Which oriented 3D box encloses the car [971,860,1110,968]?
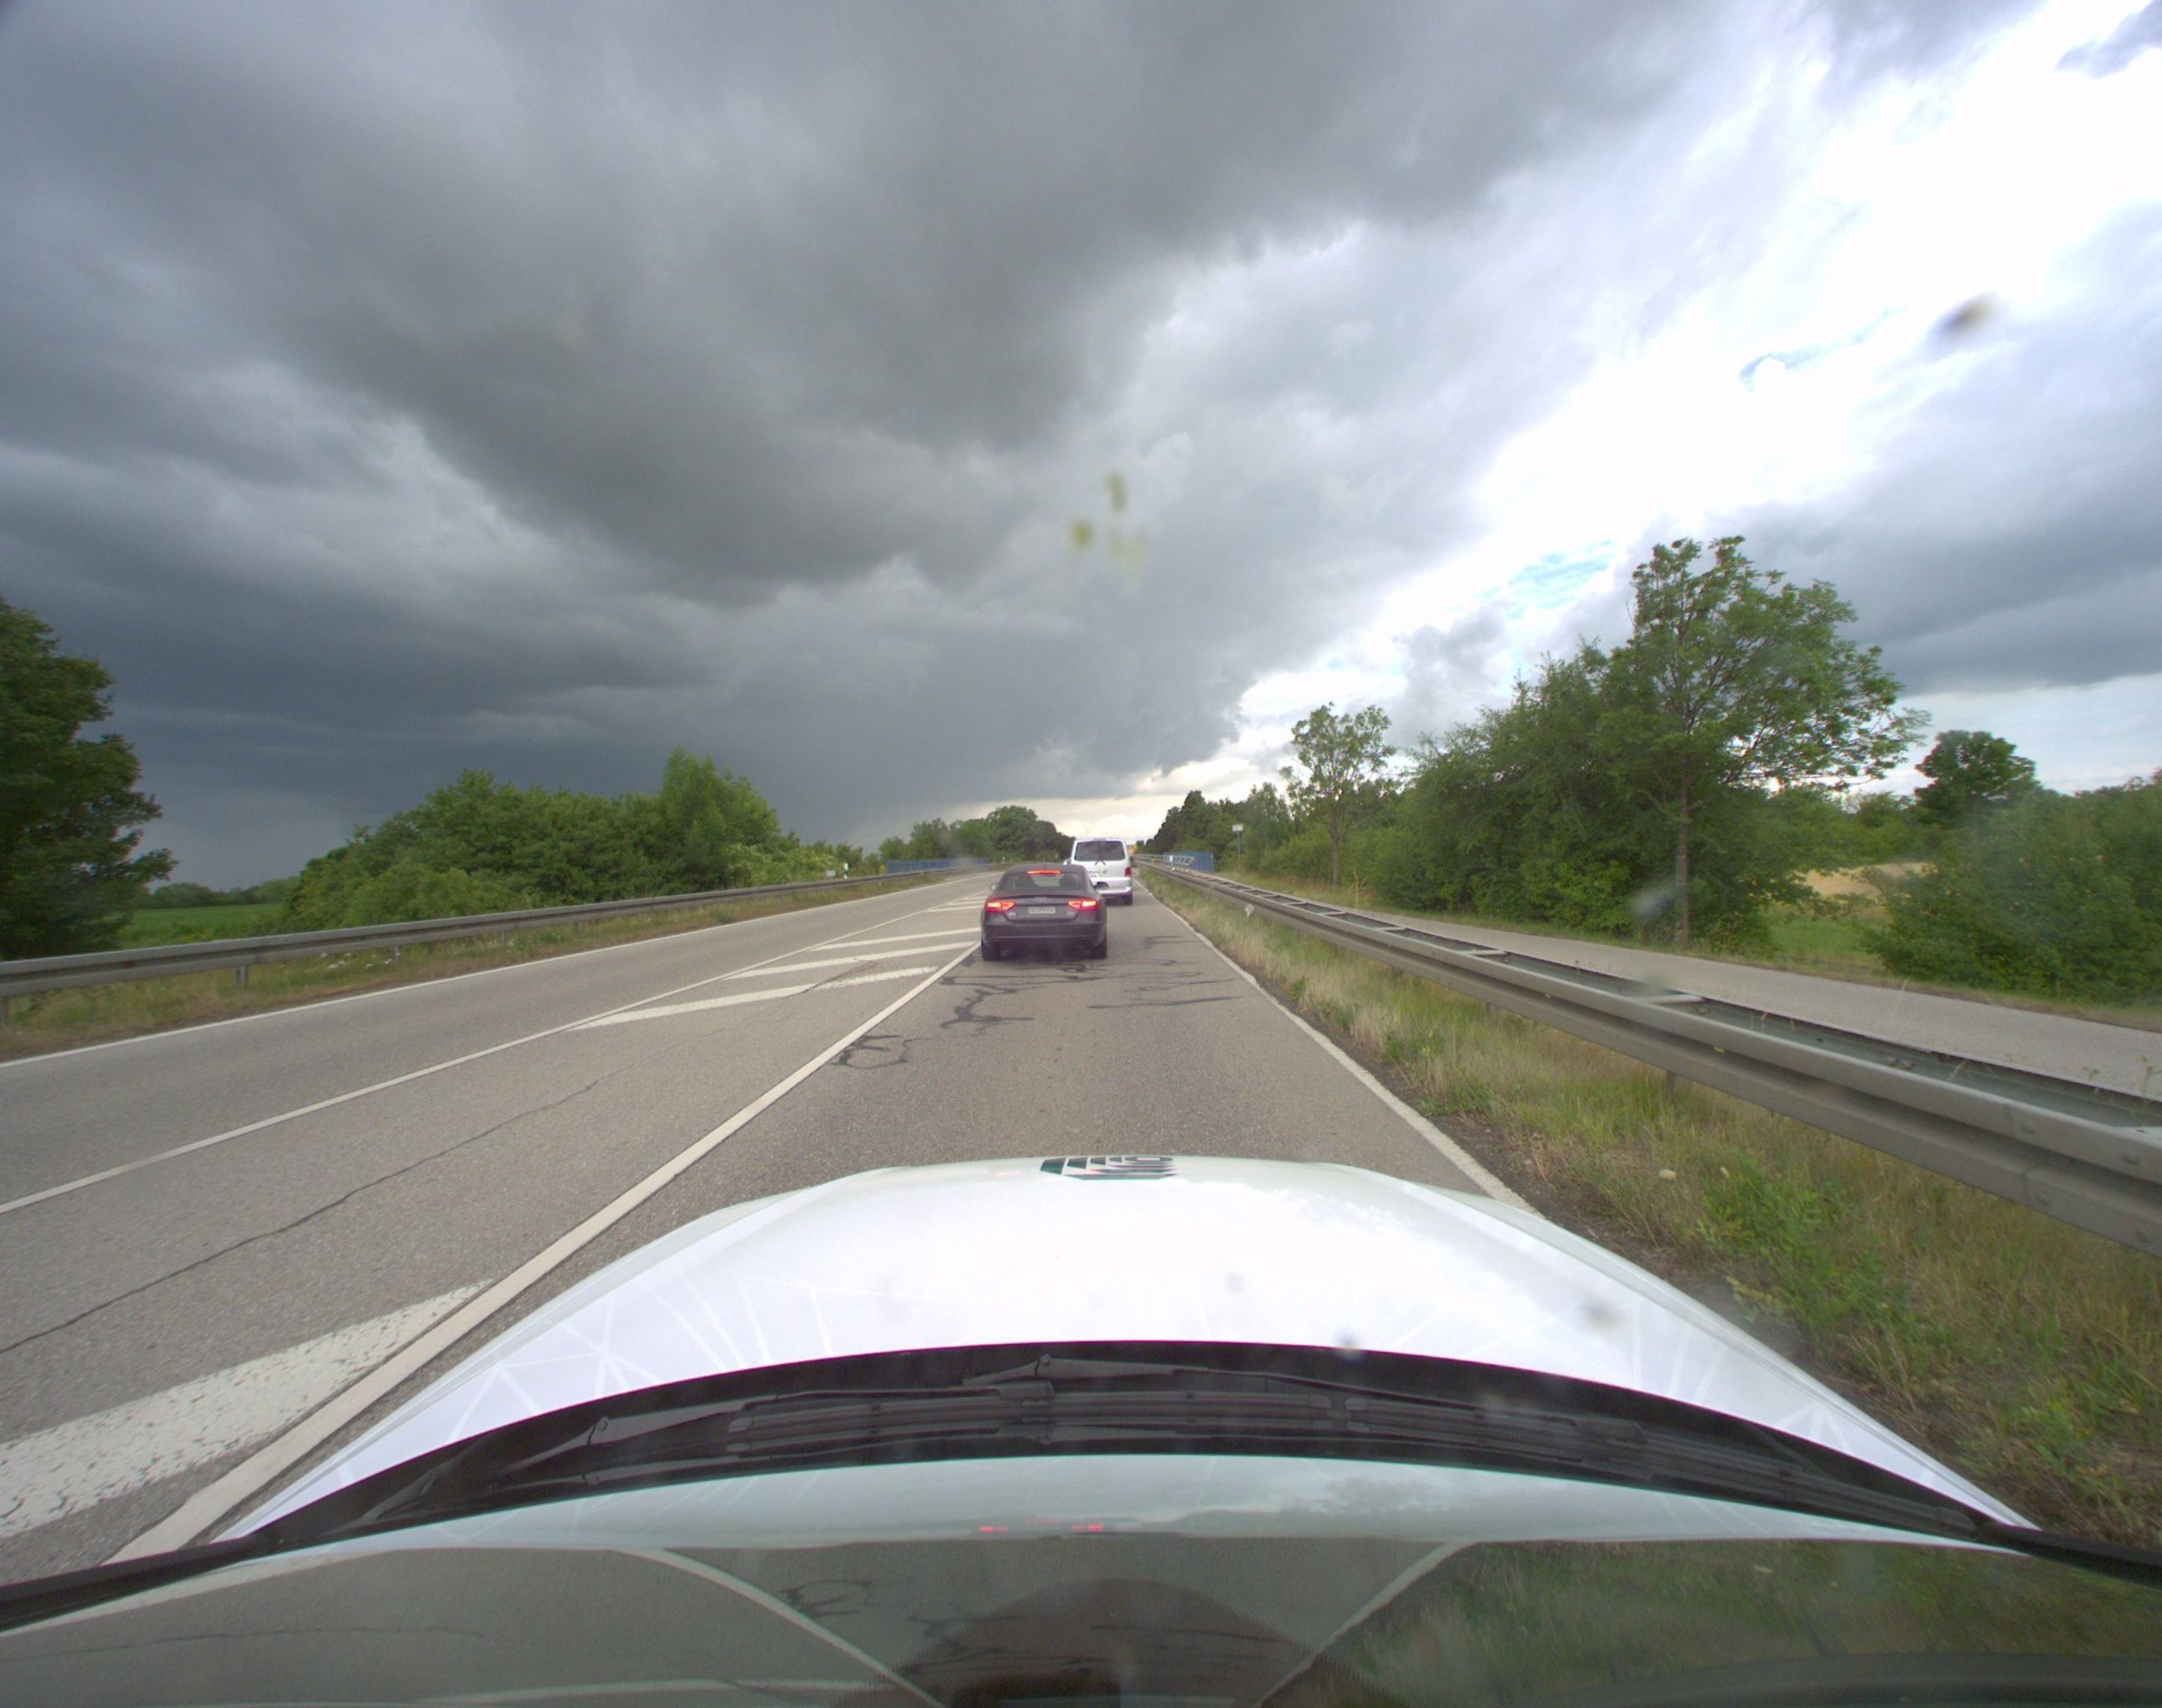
[{"bbox_3d":[-0.485,0.819,12.948,1.815,1.381,4.073,-2,0,2],"label":"car"}]

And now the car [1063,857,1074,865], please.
[{"bbox_3d":[-2.343,1.265,153.353,1.793,1.450,4.446,-2,0,0],"label":"car"}]

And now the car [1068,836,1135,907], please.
[{"bbox_3d":[0.626,0.493,24.813,1.821,1.935,4.001,-2,0,2],"label":"car"}]
